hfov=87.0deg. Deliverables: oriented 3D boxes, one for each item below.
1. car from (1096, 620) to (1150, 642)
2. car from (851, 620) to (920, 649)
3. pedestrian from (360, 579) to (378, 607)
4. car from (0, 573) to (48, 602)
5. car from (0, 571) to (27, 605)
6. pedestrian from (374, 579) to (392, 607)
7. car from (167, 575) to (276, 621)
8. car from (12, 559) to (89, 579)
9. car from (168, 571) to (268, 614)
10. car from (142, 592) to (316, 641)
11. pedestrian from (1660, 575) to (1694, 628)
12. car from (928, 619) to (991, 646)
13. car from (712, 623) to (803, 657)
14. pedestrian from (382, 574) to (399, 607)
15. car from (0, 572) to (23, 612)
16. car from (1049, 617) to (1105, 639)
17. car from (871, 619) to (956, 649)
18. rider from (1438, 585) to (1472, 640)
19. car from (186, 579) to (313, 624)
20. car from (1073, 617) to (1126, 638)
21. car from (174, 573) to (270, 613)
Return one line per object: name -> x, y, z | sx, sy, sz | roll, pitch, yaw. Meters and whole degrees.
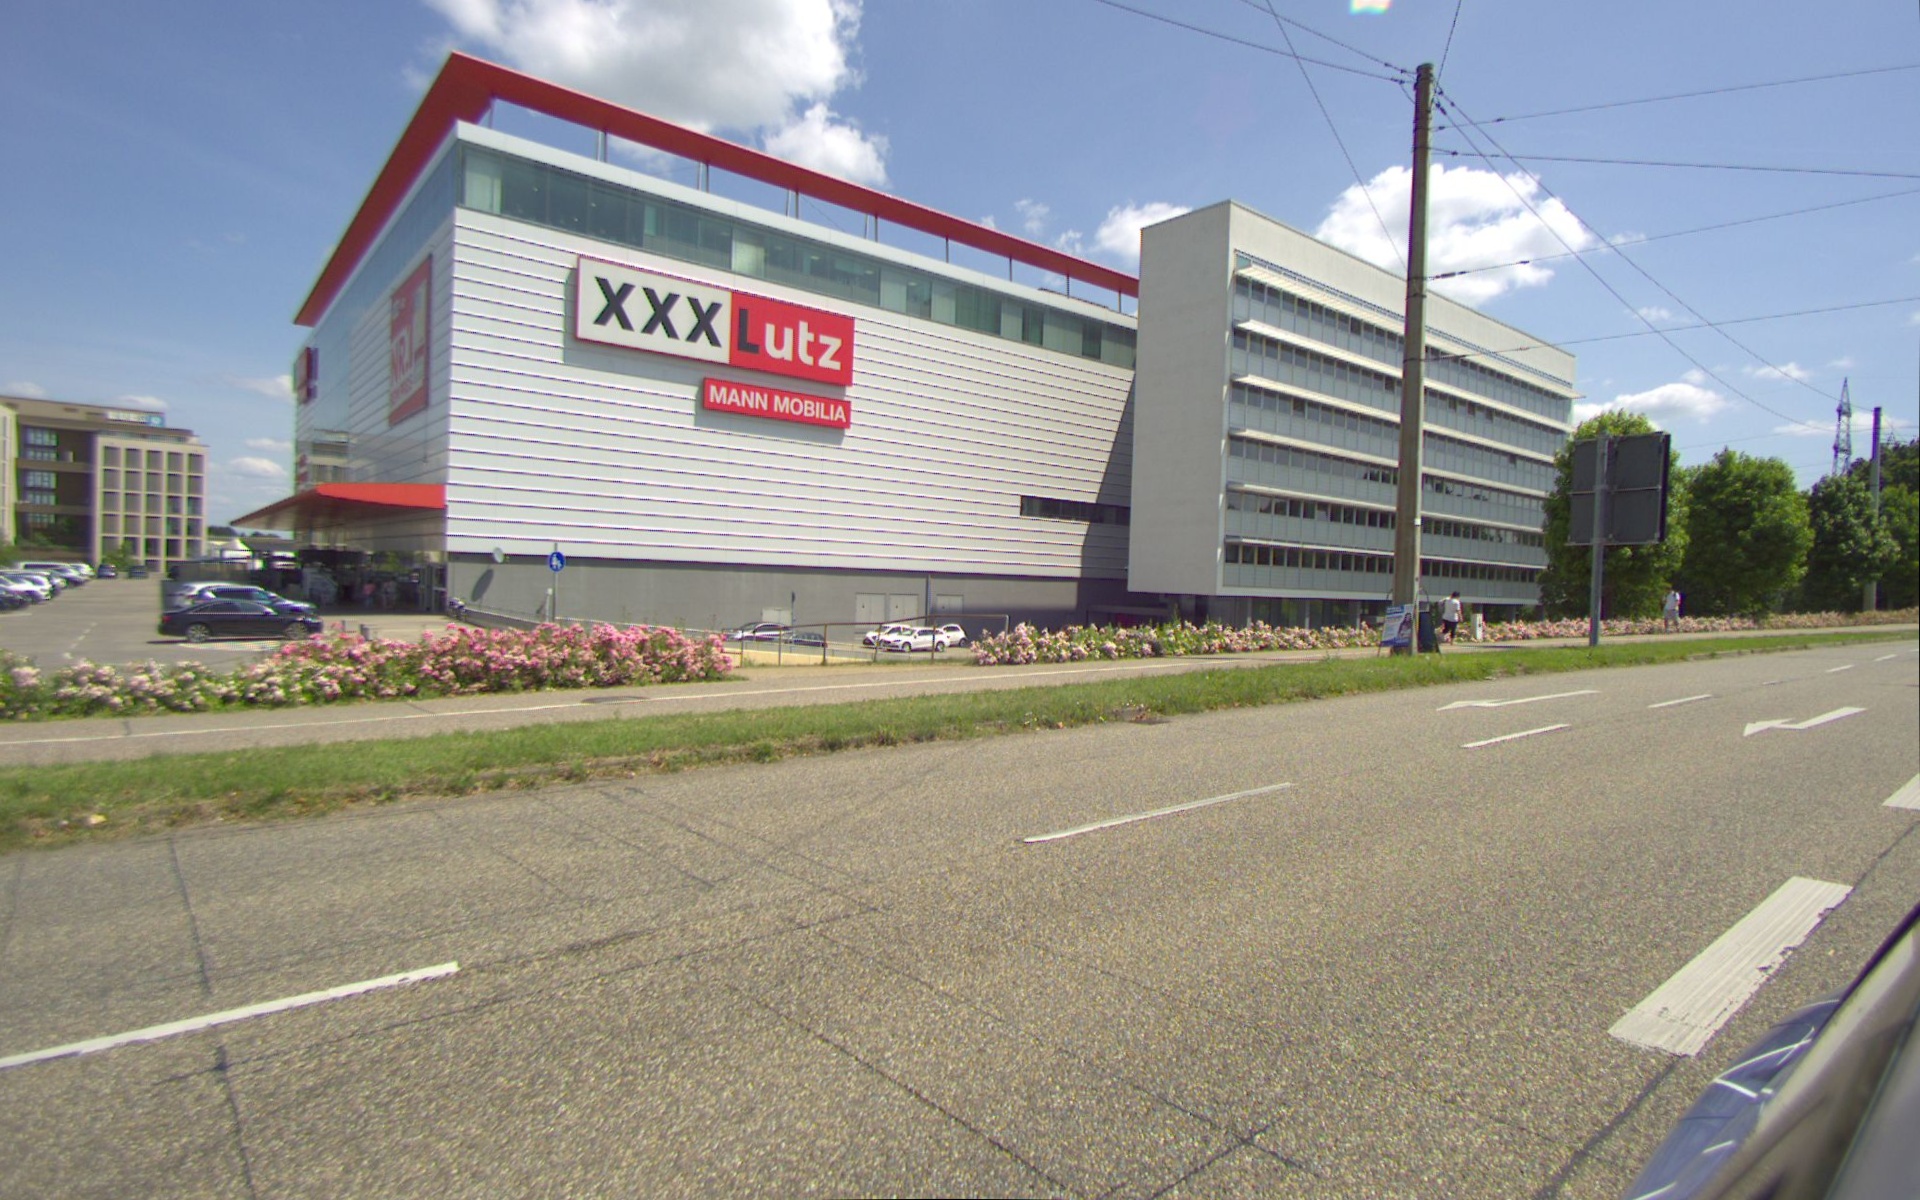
car -> 11.341, 2.135, 70.387 | 3.930, 1.338, 1.607 | -1, 1, -41
car -> -4.694, 2.149, 63.885 | 3.930, 1.632, 1.997 | -1, 1, -41
pedestrian -> -33.342, -0.410, 57.111 | 0.723, 1.577, 0.741 | 0, 0, -42
car -> -54.154, -0.686, 56.335 | 4.913, 1.631, 1.997 | 0, 1, -41
car -> -59.767, -0.749, 61.848 | 3.930, 2.039, 1.997 | -1, 1, -41
pedestrian -> -32.282, -0.406, 56.608 | 0.723, 1.577, 0.741 | 0, 0, -42
car -> -34.000, -0.112, 46.620 | 3.930, 2.039, 1.997 | -1, 1, -41
car -> -78.446, -2.641, 87.401 | 4.913, 1.631, 1.997 | 0, 1, -41
car -> -37.327, -0.377, 50.935 | 3.930, 2.039, 1.997 | 0, 0, -41
car -> -25.946, 0.533, 36.020 | 4.913, 1.631, 1.997 | 0, 1, -41
pedestrian -> 25.709, 0.035, 36.288 | 0.913, 1.872, 0.758 | 0, 0, -38
car -> -0.002, 2.133, 67.785 | 3.930, 1.632, 1.997 | -1, 1, -41
car -> -11.052, 2.130, 55.309 | 4.509, 1.632, 1.997 | -1, 1, -41
pedestrian -> -32.604, -0.562, 57.939 | 0.723, 1.893, 0.741 | 0, 0, -42
car -> -48.162, -0.390, 48.259 | 5.094, 1.888, 1.996 | 0, 0, -42
car -> 8.625, 2.030, 74.360 | 3.930, 1.465, 1.997 | -1, 1, -41
car -> -2.820, 2.042, 61.796 | 5.057, 1.632, 1.997 | -1, 1, -41
rider -> 13.570, 0.341, 27.735 | 0.607, 1.476, 0.670 | 0, 0, -41
car -> -30.033, 0.070, 42.862 | 4.257, 1.804, 1.997 | 0, -1, -41
car -> 9.991, 1.954, 72.426 | 3.930, 1.403, 1.646 | -1, 1, -41
car -> -38.755, -0.382, 53.167 | 3.930, 2.039, 1.997 | -1, 1, -41
